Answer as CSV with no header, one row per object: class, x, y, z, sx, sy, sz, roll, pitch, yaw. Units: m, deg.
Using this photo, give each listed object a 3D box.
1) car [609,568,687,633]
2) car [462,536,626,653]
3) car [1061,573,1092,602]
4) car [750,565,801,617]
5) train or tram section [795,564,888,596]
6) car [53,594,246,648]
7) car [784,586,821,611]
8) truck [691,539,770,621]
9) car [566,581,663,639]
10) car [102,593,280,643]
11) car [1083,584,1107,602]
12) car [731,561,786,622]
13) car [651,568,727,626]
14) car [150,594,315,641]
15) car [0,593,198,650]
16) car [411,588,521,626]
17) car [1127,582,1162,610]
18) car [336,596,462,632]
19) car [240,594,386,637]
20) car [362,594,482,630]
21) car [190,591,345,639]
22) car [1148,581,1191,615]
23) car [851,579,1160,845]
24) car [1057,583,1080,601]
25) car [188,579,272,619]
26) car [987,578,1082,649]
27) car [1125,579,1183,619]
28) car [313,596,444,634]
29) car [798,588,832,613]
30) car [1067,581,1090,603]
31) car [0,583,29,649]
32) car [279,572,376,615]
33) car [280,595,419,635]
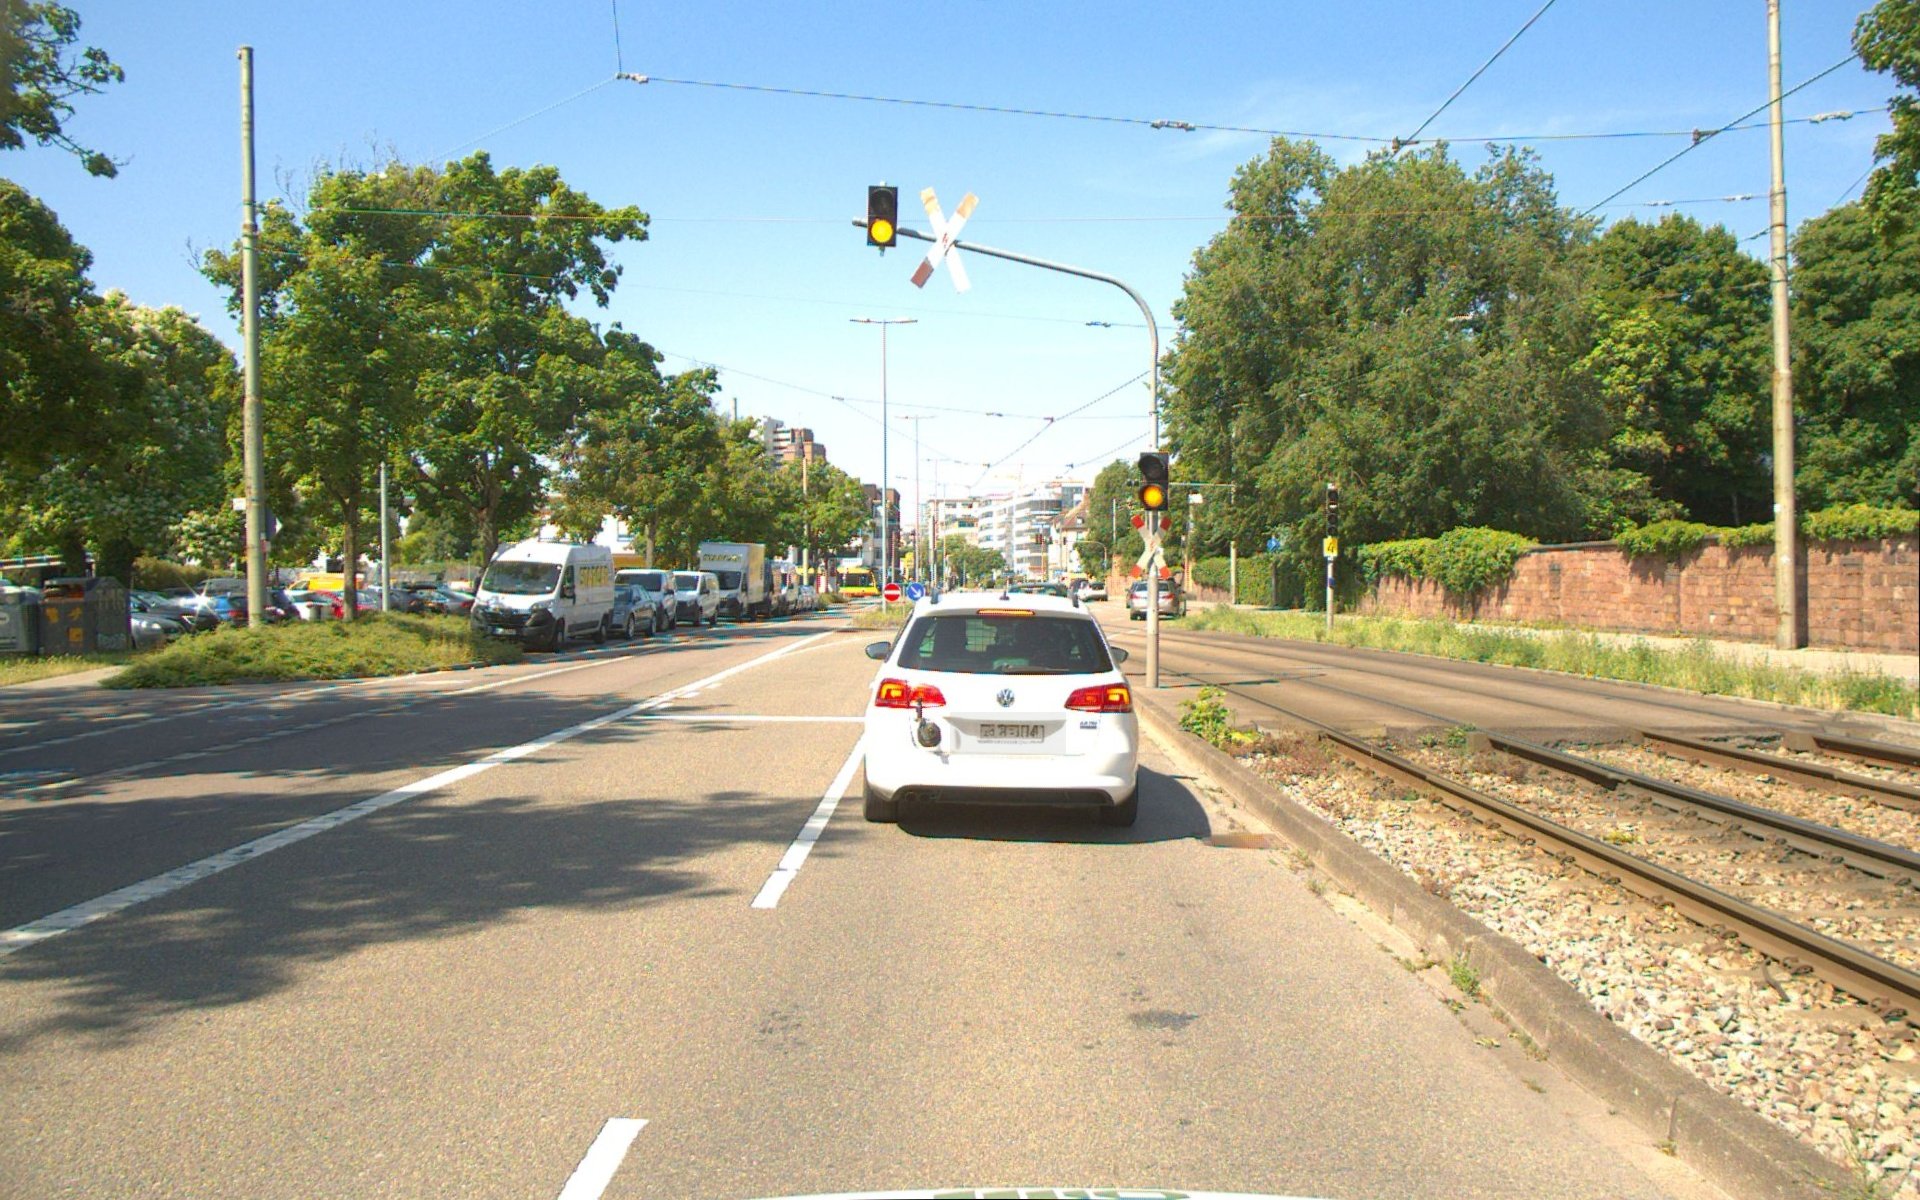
car,-10.012,-0.024,53.454,1.807,1.971,5.190,-1,1,-3
car,-10.000,-0.171,40.340,2.016,2.544,6.310,2,1,3
car,10.744,-1.161,152.643,2.412,2.542,5.910,2,0,0
car,-9.332,-0.469,83.958,1.805,2.538,5.857,-1,1,1
train or tram section,-13.282,-2.243,185.003,11.032,3.309,2.303,2,0,31
car,-20.156,0.501,41.222,3.906,1.246,1.771,-1,1,-1
car,-9.365,-0.098,98.688,1.806,1.458,4.038,-1,1,0
truck,-9.408,-0.834,68.495,2.308,3.177,6.891,-1,1,0
car,-9.690,0.243,46.714,1.806,1.543,4.197,-1,1,0
car,-20.419,0.456,44.012,3.903,1.246,1.772,-1,1,3
car,10.464,-0.532,128.438,1.549,1.369,3.454,2,0,0
car,-9.234,-0.399,76.066,1.805,2.715,5.004,-1,1,1
car,-9.759,-0.121,59.948,1.805,1.994,5.135,-1,1,1
car,-20.726,0.483,47.202,3.903,1.246,1.772,-1,1,3
car,-20.226,0.490,38.741,3.906,1.246,1.771,-1,1,-1
car,-20.006,0.264,67.082,3.903,1.469,1.772,-1,1,3
car,10.097,-0.246,90.828,1.709,1.432,3.915,2,1,4
car,-20.252,0.495,59.825,3.903,1.246,1.772,-1,1,3
car,-20.482,0.481,52.451,3.903,1.286,1.772,-1,1,3
car,-20.120,0.443,61.944,3.903,1.246,1.772,-1,1,3
car,-20.778,0.442,49.713,3.903,1.373,1.772,-1,1,3
car,9.969,-0.118,79.007,1.822,1.539,3.915,2,1,4
car,0.250,0.620,11.441,1.732,1.471,3.913,2,1,-1
car,10.619,-0.783,162.262,1.952,1.624,4.000,2,0,1
car,-35.323,-0.054,80.069,3.353,1.909,1.552,-1,0,-2
car,1.685,0.263,36.202,1.709,1.412,3.916,2,1,8
car,7.419,-0.049,62.982,1.821,1.441,4.329,2,1,11
car,-20.232,0.503,57.600,3.903,1.246,1.772,-1,1,3
car,-9.146,0.021,104.538,1.744,1.458,4.038,-1,1,0
car,10.216,-0.714,142.973,1.656,1.844,3.454,2,0,0
car,-32.382,0.433,52.340,4.601,2.049,1.998,2,0,-5
car,-32.511,-0.349,85.122,4.174,2.049,1.998,2,0,-6
car,-20.239,0.492,54.915,3.903,1.246,1.772,-1,1,3
